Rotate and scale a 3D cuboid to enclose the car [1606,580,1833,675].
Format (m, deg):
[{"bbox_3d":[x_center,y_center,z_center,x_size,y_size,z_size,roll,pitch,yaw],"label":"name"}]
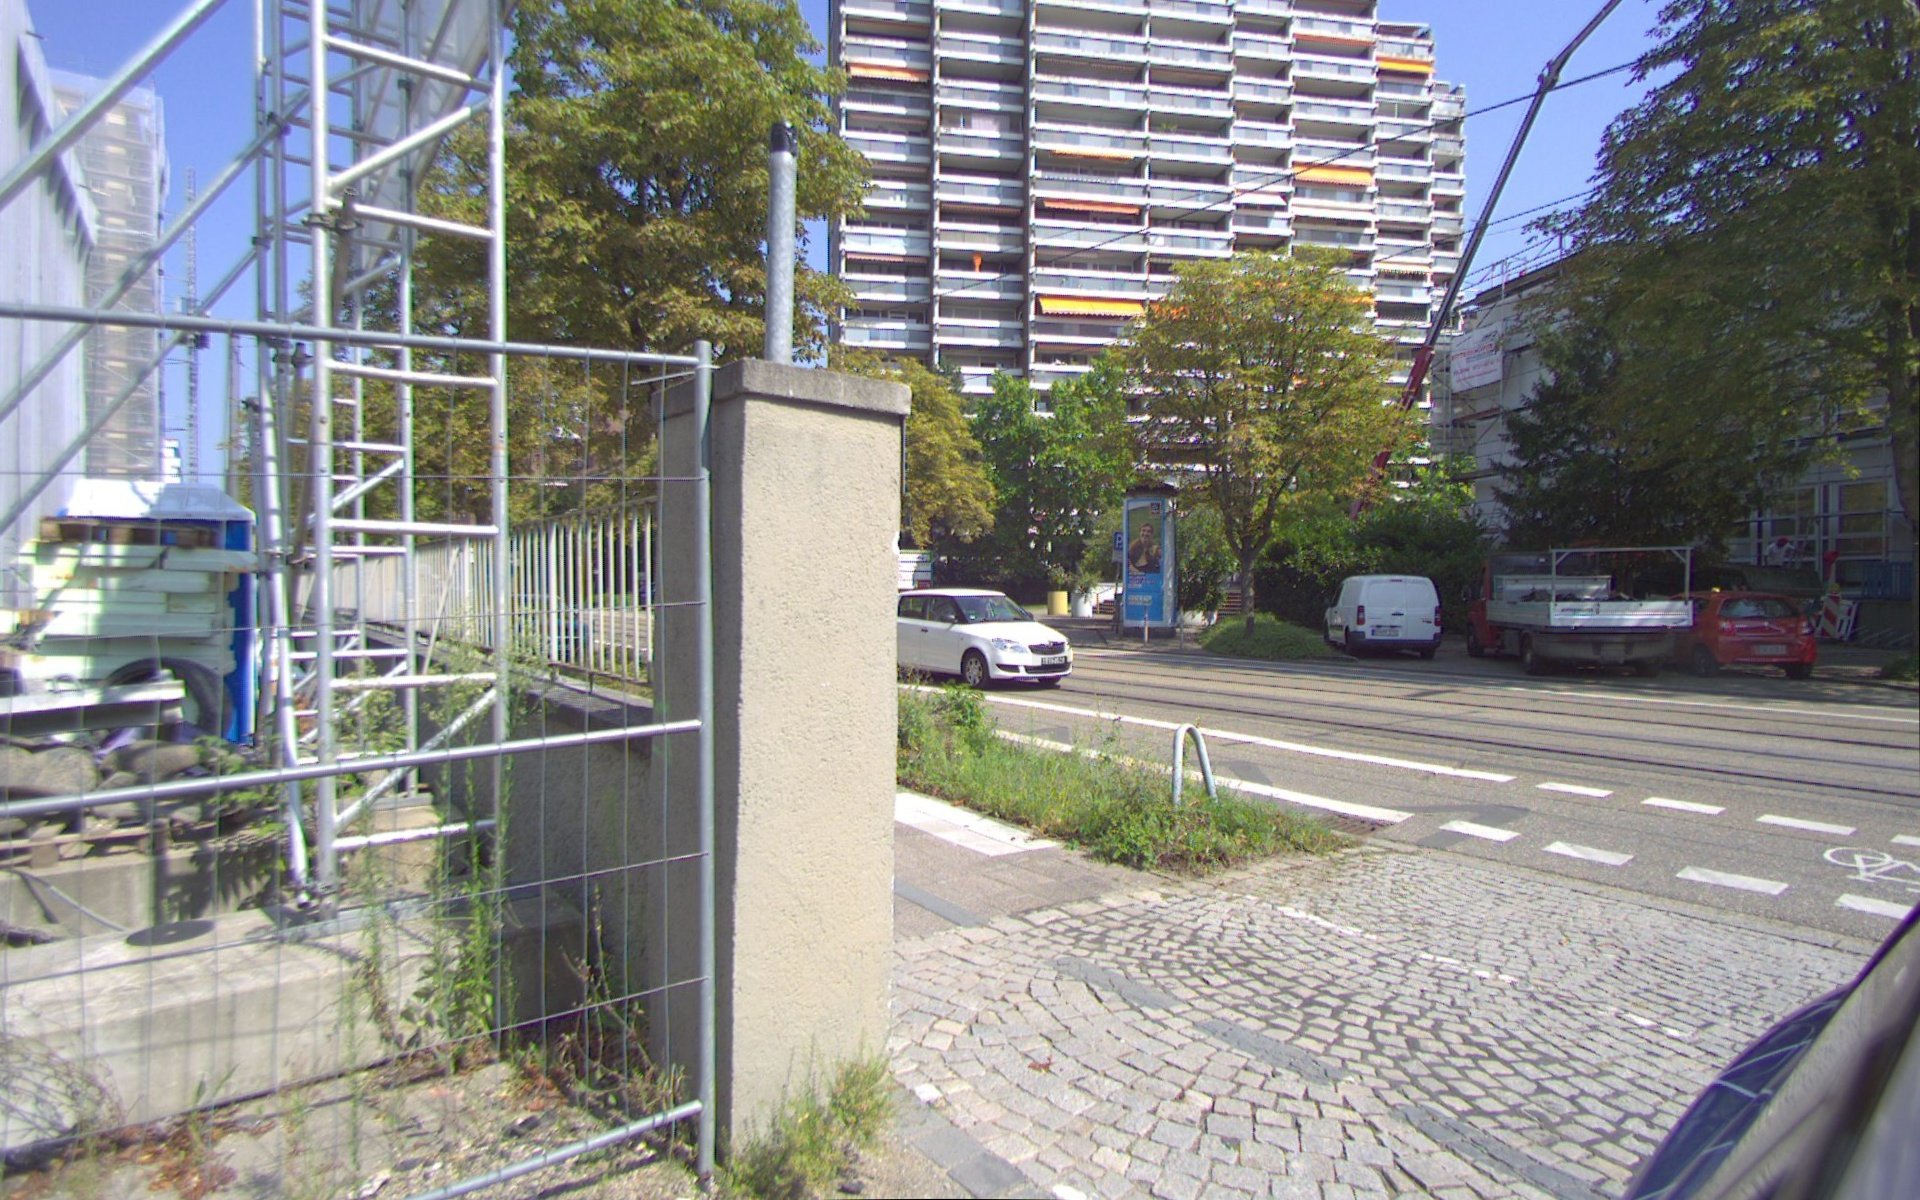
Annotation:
[{"bbox_3d":[13.651,0.410,18.489,1.693,1.527,3.850,1,1,10],"label":"car"}]

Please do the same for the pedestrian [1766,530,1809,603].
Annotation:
[{"bbox_3d":[21.081,-0.838,25.797,0.735,1.810,0.820,1,0,32],"label":"pedestrian"}]

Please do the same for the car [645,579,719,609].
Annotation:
[{"bbox_3d":[-15.294,-0.366,55.774,1.763,1.589,3.964,0,1,26],"label":"car"}]

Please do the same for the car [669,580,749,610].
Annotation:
[{"bbox_3d":[-13.206,-0.309,53.510,1.763,1.516,4.256,0,1,27],"label":"car"}]

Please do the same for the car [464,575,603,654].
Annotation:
[{"bbox_3d":[-9.060,0.247,21.255,1.648,1.476,4.662,1,0,-36],"label":"car"}]

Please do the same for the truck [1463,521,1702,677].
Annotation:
[{"bbox_3d":[11.456,-0.070,19.230,2.119,2.465,5.943,1,1,14],"label":"truck"}]

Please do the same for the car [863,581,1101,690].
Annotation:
[{"bbox_3d":[0.225,0.457,16.342,1.791,1.511,4.018,-1,1,-36],"label":"car"}]

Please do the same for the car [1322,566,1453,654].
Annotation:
[{"bbox_3d":[9.495,0.163,22.815,1.796,1.794,4.273,0,1,10],"label":"car"}]

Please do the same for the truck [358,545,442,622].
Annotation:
[{"bbox_3d":[-20.625,-0.627,37.148,1.888,2.631,5.589,-1,1,-37],"label":"truck"}]

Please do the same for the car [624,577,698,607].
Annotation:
[{"bbox_3d":[-17.269,-0.463,58.558,1.826,1.668,3.958,0,1,30],"label":"car"}]
